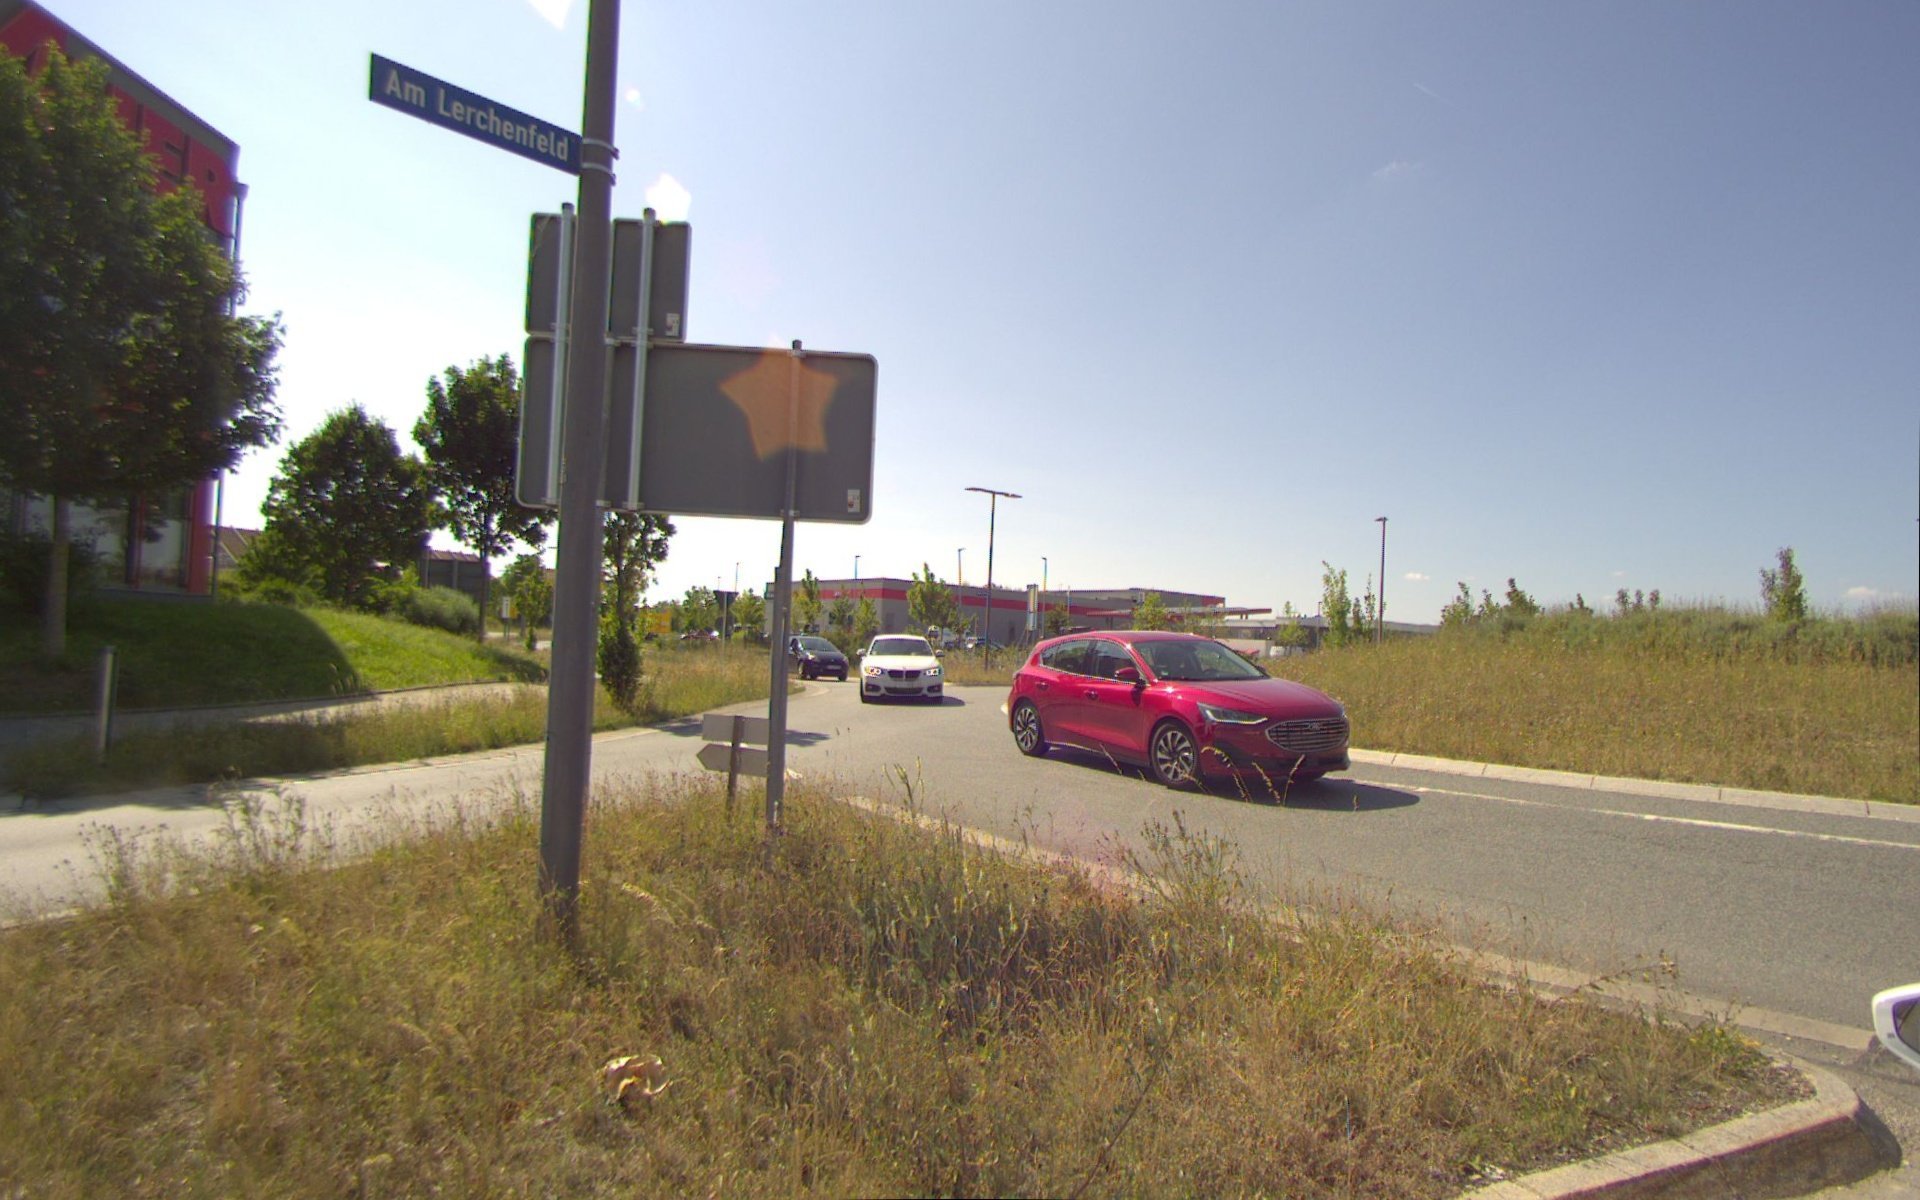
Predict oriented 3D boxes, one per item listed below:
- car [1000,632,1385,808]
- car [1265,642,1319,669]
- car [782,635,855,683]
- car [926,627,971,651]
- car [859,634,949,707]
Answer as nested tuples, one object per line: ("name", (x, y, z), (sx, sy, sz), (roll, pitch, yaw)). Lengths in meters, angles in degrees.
("car", (2.184, 1.080, 10.601), (1.785, 1.434, 4.090), (2, -2, -26))
("car", (27.834, 4.652, 84.136), (5.099, 2.040, 1.976), (5, -3, -42))
("car", (-4.920, 1.987, 34.622), (1.621, 1.507, 3.885), (2, -2, -21))
("car", (-1.054, 3.668, 94.516), (3.972, 2.040, 1.975), (4, -3, -43))
("car", (-1.221, 1.508, 22.287), (1.762, 1.434, 4.381), (1, -2, -3))
